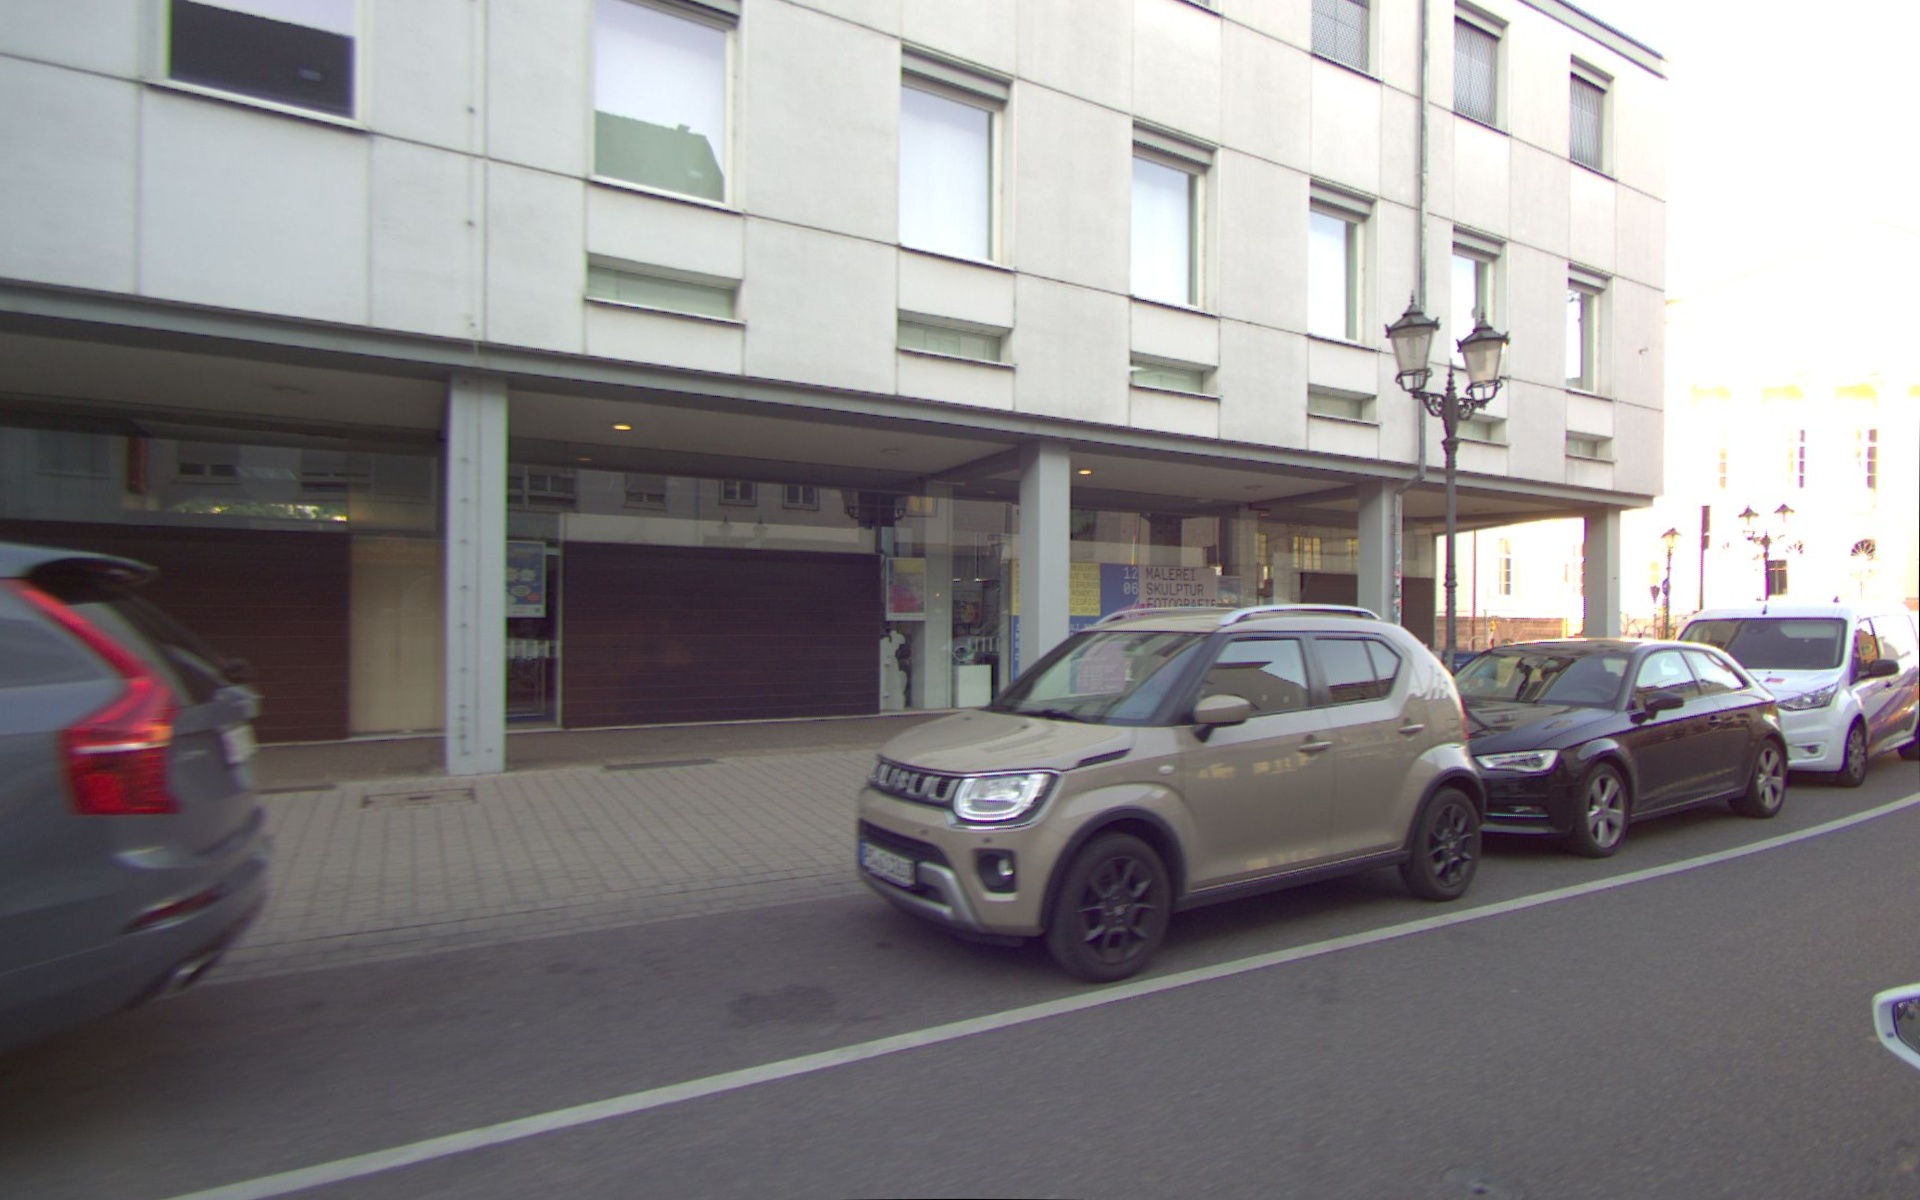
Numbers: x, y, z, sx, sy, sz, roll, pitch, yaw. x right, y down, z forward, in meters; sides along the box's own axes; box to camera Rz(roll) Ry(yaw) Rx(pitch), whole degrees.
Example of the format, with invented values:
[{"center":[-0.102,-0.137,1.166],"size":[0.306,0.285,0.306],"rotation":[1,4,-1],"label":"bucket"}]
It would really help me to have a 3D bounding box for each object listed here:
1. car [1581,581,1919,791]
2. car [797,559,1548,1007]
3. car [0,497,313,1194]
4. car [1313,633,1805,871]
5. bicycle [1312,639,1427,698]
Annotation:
[{"center":[8.929,0.788,11.053],"size":[4.739,1.840,1.979],"rotation":[1,0,-37],"label":"car"},{"center":[1.296,0.748,5.723],"size":[3.957,1.683,1.982],"rotation":[1,-2,-33],"label":"car"},{"center":[-4.394,0.624,2.556],"size":[4.461,1.751,1.985],"rotation":[1,-2,-29],"label":"car"},{"center":[4.777,0.975,7.855],"size":[4.060,1.371,1.668],"rotation":[1,0,-32],"label":"car"},{"center":[7.541,1.235,18.458],"size":[2.309,0.997,0.729],"rotation":[1,0,-31],"label":"bicycle"}]
